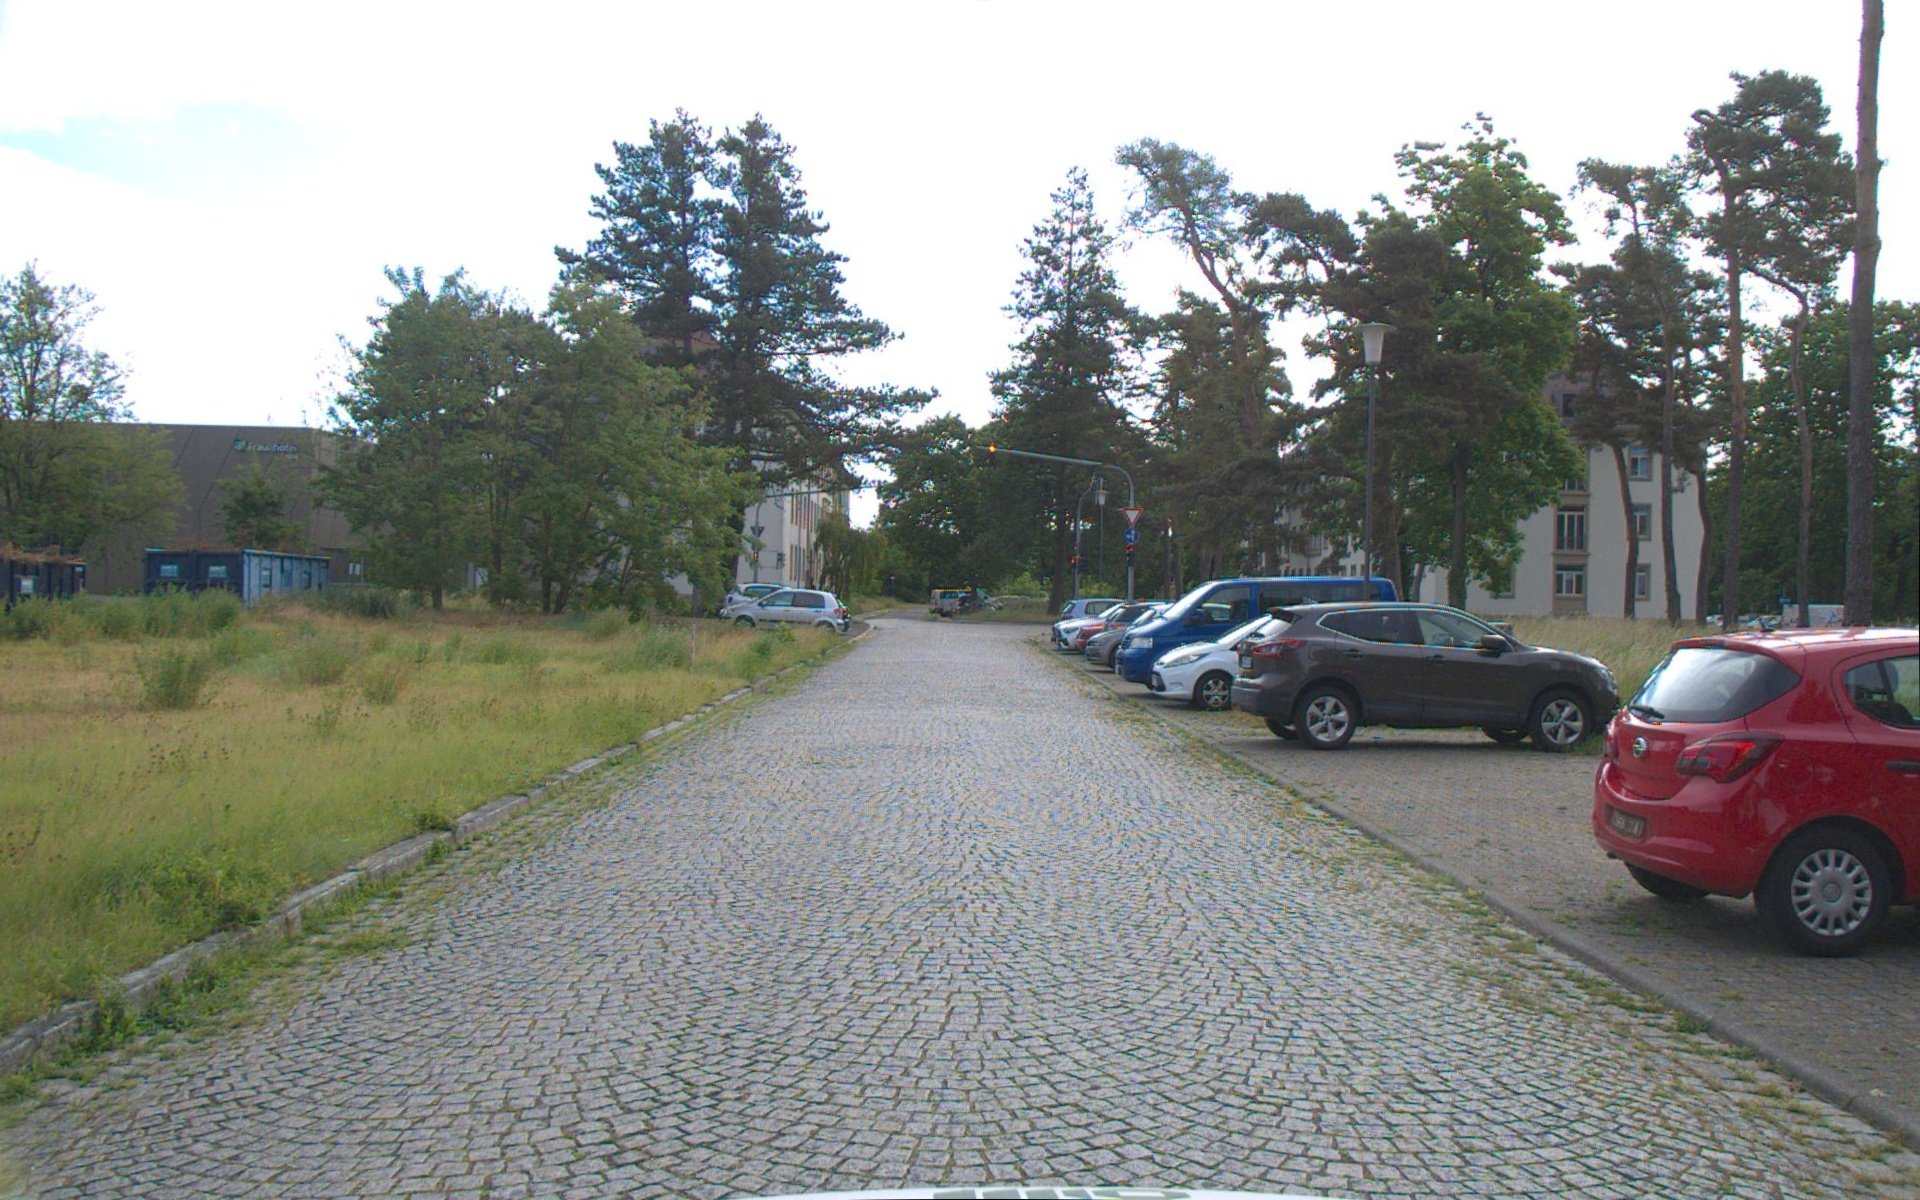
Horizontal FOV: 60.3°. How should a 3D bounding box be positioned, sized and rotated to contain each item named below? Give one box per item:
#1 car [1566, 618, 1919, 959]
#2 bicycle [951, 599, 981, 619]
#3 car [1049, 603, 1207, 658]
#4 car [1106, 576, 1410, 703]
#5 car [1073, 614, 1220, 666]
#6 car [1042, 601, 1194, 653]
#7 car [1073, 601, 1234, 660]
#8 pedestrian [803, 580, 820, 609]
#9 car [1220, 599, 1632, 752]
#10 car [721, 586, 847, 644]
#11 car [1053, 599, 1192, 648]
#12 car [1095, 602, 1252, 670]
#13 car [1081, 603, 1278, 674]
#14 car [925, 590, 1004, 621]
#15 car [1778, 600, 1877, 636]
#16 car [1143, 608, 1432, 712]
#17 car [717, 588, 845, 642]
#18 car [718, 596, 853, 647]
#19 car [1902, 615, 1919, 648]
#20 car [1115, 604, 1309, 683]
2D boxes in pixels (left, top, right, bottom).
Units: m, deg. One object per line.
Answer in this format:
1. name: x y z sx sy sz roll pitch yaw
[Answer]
1. car: 5.361 0.880 8.494 3.844 1.522 1.784 0 0 -2
2. bicycle: 0.369 0.606 106.965 1.845 1.191 0.664 3 0 -6
3. car: 4.663 0.840 46.100 4.106 1.462 1.752 0 0 -8
4. car: 4.912 0.637 27.693 4.699 2.039 1.965 0 0 -3
5. car: 4.626 0.996 41.394 3.513 1.244 1.628 0 0 0
6. car: 4.651 0.781 48.866 4.153 1.505 1.705 0 0 -12
7. car: 5.093 0.789 43.744 4.022 1.502 1.684 0 0 -3
8. pedestrian: -10.406 -0.404 115.807 1.052 1.993 1.121 3 0 -1
9. car: 5.189 0.816 18.796 4.119 1.623 1.952 0 0 -3
10. car: -5.312 0.450 50.332 3.647 1.506 1.672 3 0 -4
11. car: 5.019 0.722 51.425 4.055 1.489 1.631 0 0 -6
12. car: 4.976 0.826 38.775 3.434 1.513 1.743 0 0 -1
13. car: 4.712 0.821 35.903 4.046 1.472 1.765 0 0 0
14. car: 0.317 0.392 118.272 5.283 2.138 2.171 1 0 -13
15. car: 55.191 1.152 105.290 5.192 2.055 2.105 3 0 0
16. car: 4.914 0.893 25.148 4.016 1.504 1.720 0 0 -4
17. car: -6.027 0.498 55.722 4.215 1.762 1.651 0 0 -6
18. car: -5.572 0.679 52.924 4.216 1.581 1.809 0 0 -7
19. car: 56.436 1.896 94.576 4.048 1.835 1.900 3 0 1
20. car: 4.977 0.842 33.002 3.579 1.504 1.765 0 0 -1
